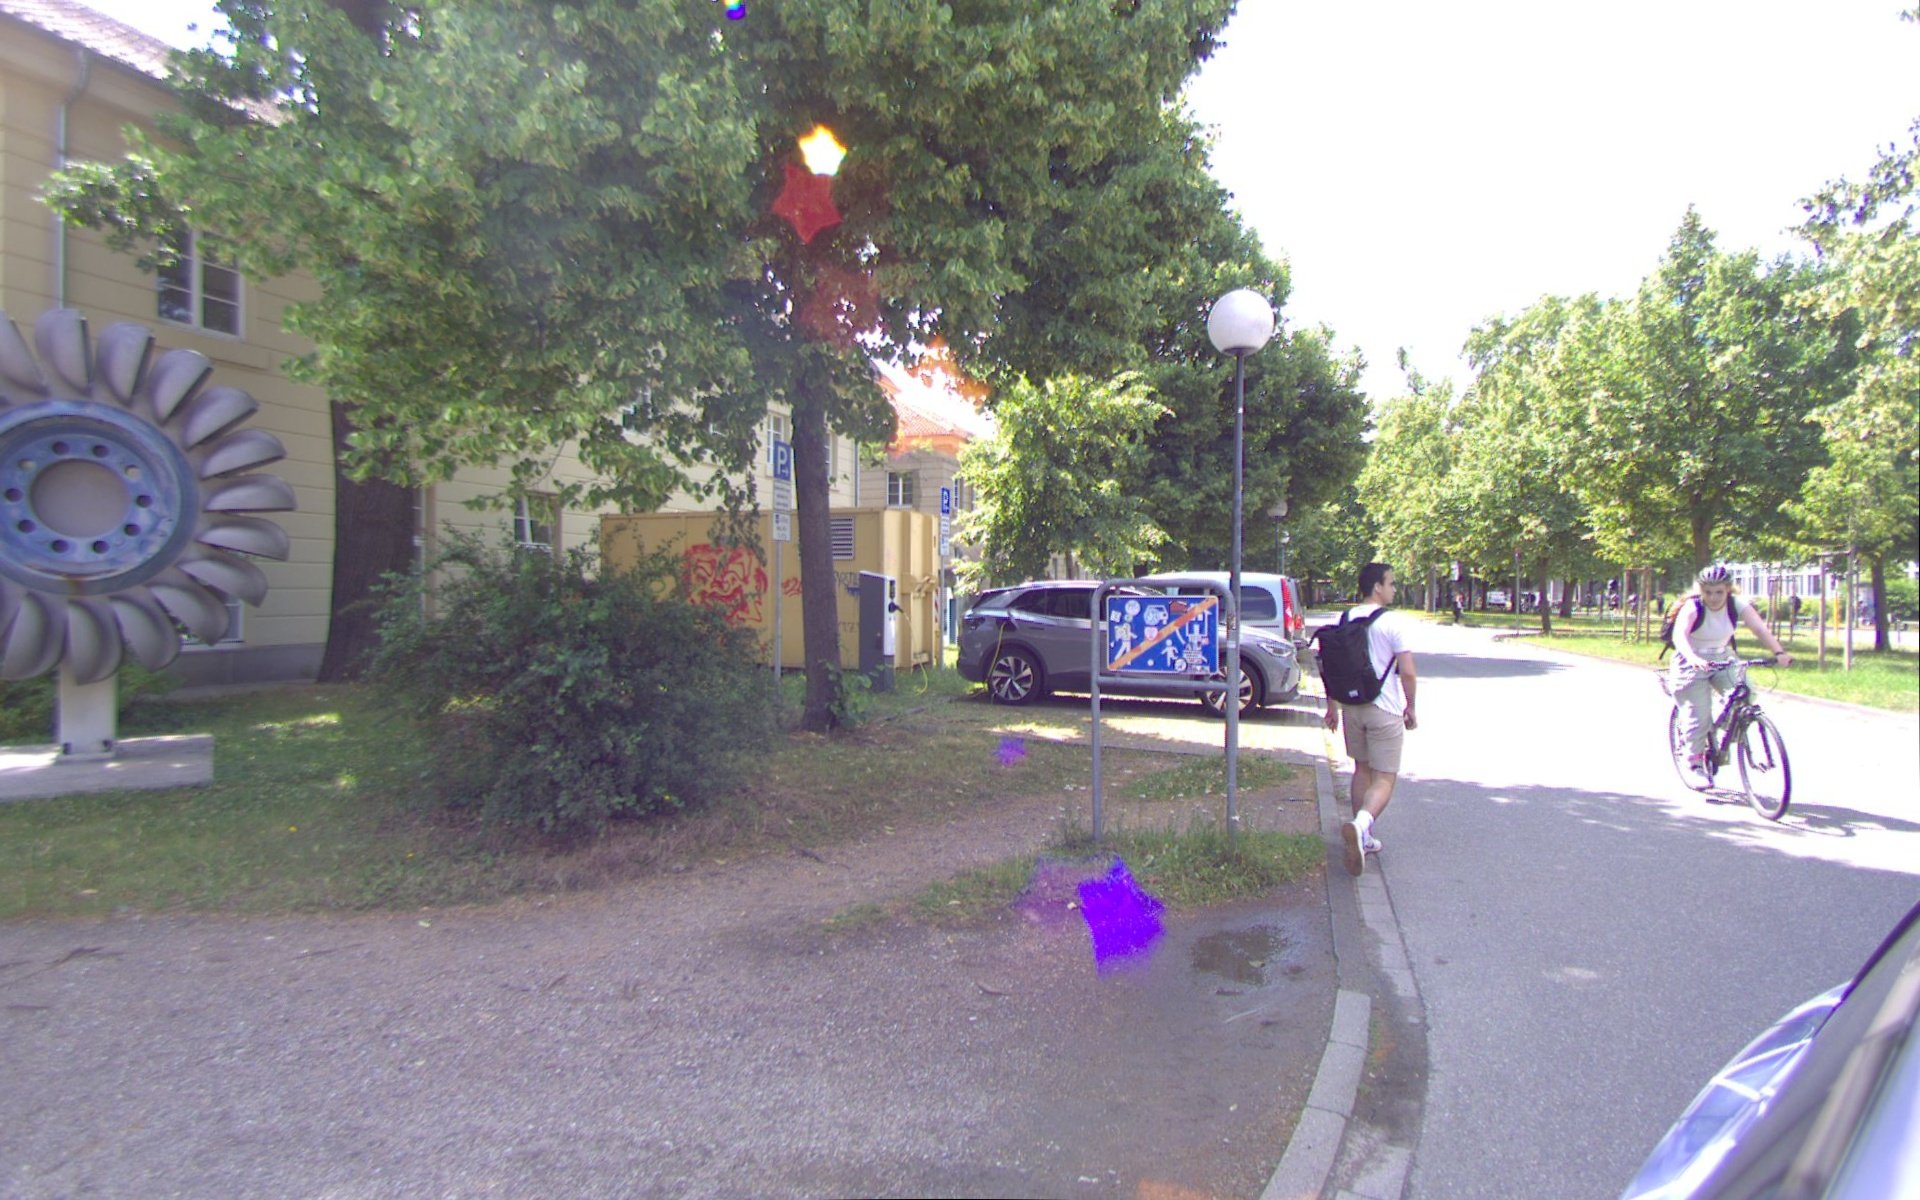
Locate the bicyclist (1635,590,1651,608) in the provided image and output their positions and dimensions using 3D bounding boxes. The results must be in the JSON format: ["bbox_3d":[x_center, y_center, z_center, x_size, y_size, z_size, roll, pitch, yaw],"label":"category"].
[{"bbox_3d":[50.884,-0.075,75.411,0.769,1.350,0.823,0,0,19],"label":"bicyclist"}]

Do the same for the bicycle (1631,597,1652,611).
[{"bbox_3d":[50.975,0.284,75.699,0.769,1.045,2.136,0,1,19],"label":"bicycle"}]

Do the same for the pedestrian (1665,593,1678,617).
[{"bbox_3d":[49.516,0.322,70.441,0.589,1.649,0.758,0,0,19],"label":"pedestrian"}]

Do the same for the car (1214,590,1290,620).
[{"bbox_3d":[15.565,0.228,53.962,3.808,1.540,1.712,0,0,21],"label":"car"}]

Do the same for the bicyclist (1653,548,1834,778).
[{"bbox_3d":[5.527,0.414,7.213,0.667,1.497,1.056,-2,0,19],"label":"bicyclist"}]

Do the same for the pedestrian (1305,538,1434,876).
[{"bbox_3d":[2.286,0.554,5.676,0.634,1.767,0.578,0,0,22],"label":"pedestrian"}]

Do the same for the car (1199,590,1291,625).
[{"bbox_3d":[12.738,0.318,45.215,3.808,1.507,1.712,0,0,21],"label":"car"}]

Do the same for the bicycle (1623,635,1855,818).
[{"bbox_3d":[5.627,0.836,7.479,0.667,1.086,2.123,-1,-1,19],"label":"bicycle"}]

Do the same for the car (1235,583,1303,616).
[{"bbox_3d":[18.374,-0.055,60.187,3.808,1.904,1.769,0,0,21],"label":"car"}]

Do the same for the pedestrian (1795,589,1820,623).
[{"bbox_3d":[42.762,0.293,51.088,0.786,1.744,0.631,0,0,19],"label":"pedestrian"}]

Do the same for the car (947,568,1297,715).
[{"bbox_3d":[2.164,0.455,13.389,4.306,1.672,1.884,1,0,19],"label":"car"}]

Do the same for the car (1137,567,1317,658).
[{"bbox_3d":[6.416,0.251,24.233,4.003,2.039,1.986,0,0,21],"label":"car"}]

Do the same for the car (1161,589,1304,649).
[{"bbox_3d":[7.780,0.489,28.866,3.808,1.614,1.774,0,0,21],"label":"car"}]

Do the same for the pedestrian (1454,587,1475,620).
[{"bbox_3d":[23.478,0.169,47.098,0.786,1.506,0.631,0,0,19],"label":"pedestrian"}]

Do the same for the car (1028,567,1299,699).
[{"bbox_3d":[3.192,0.450,15.764,3.948,1.861,1.813,0,0,19],"label":"car"}]
